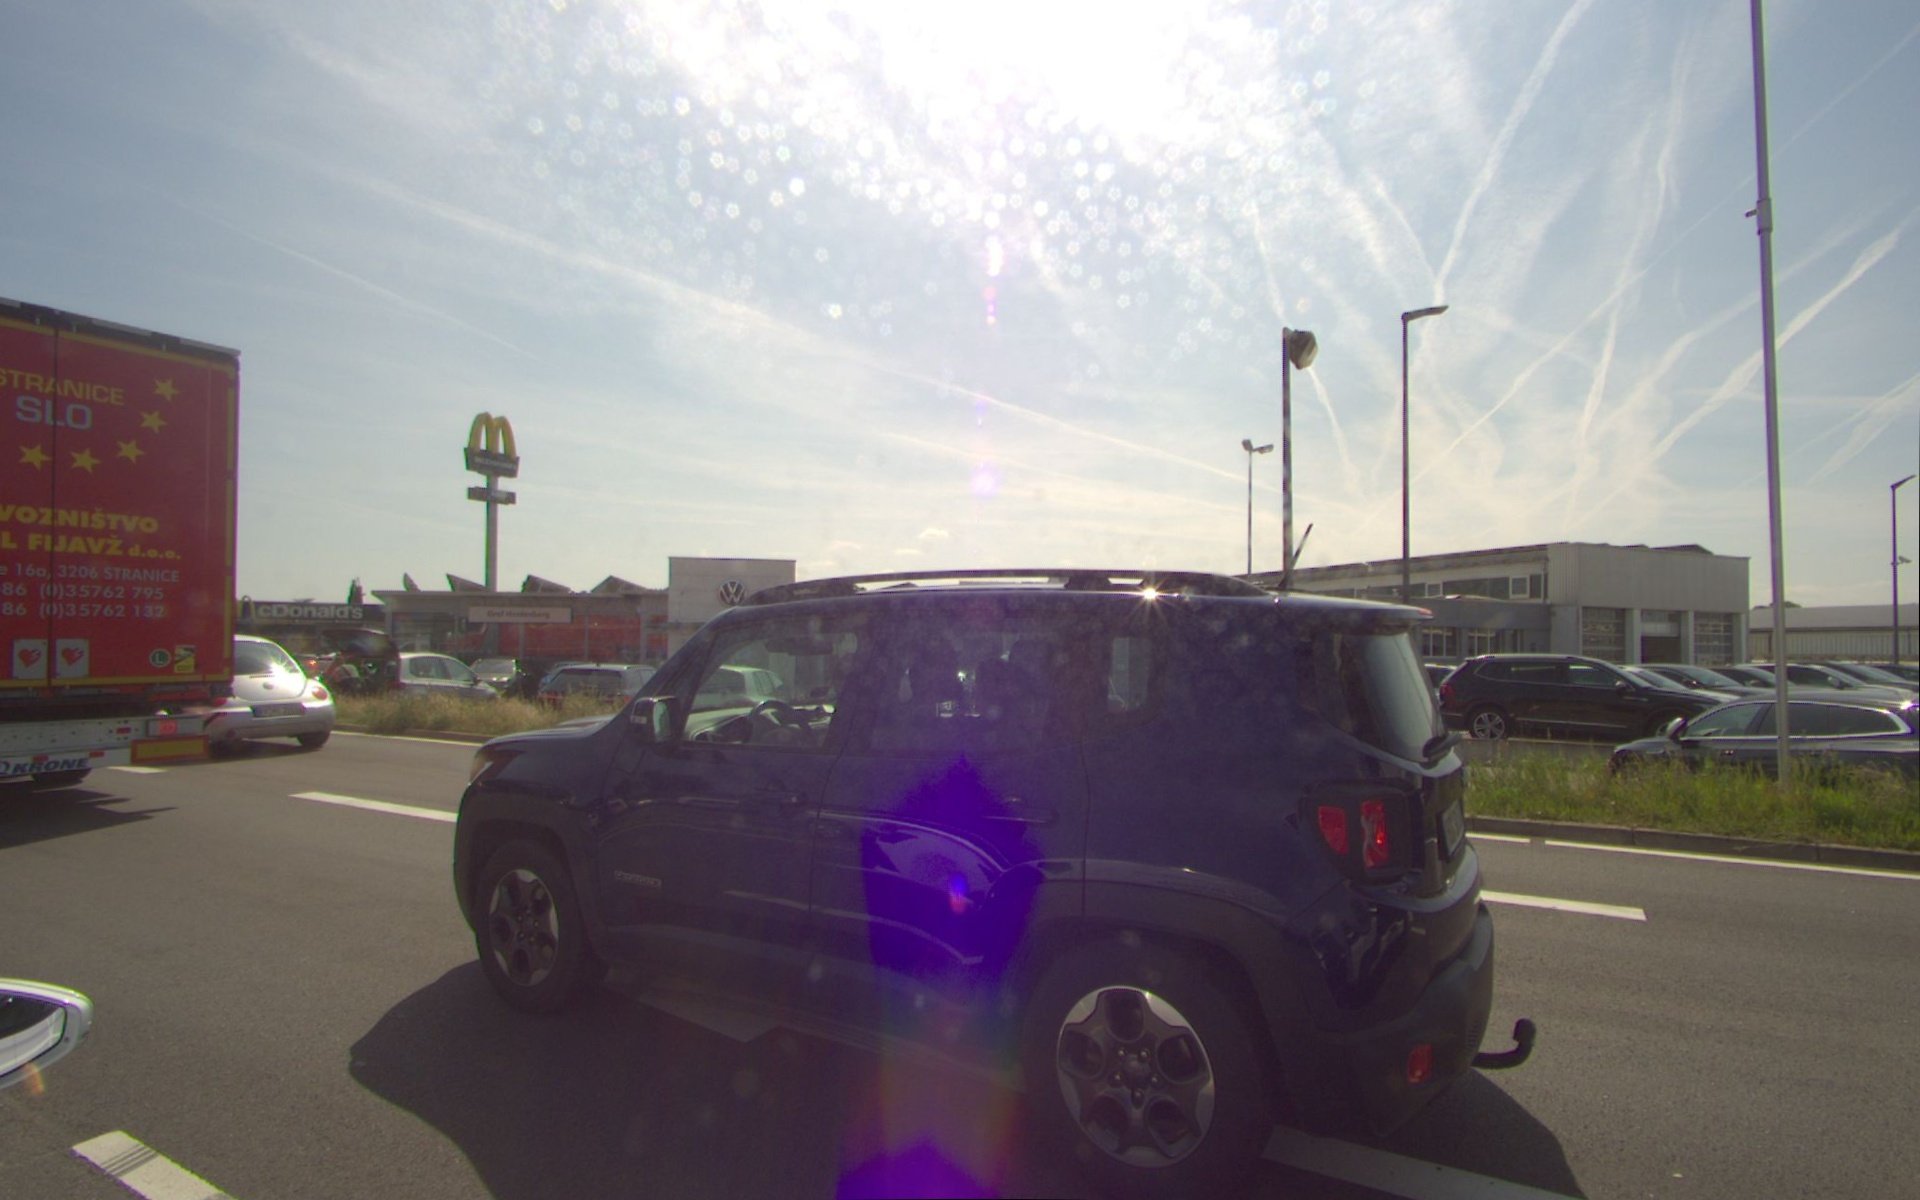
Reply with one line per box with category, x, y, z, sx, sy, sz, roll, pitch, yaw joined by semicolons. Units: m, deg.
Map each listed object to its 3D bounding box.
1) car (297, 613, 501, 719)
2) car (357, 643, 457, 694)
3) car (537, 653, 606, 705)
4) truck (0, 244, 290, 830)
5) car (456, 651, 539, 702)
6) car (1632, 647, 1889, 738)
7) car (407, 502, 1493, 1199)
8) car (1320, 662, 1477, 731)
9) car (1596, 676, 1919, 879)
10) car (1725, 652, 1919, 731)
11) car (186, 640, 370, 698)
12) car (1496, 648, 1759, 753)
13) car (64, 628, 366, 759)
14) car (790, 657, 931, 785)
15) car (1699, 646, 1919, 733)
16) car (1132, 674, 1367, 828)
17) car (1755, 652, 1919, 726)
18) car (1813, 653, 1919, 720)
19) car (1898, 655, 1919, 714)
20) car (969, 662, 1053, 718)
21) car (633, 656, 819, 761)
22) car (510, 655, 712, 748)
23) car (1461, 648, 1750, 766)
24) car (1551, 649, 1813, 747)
car;-11.234;1.285;20.385;1.669;1.945;3.848;0;-2;6
car;-18.226;2.232;33.201;1.964;1.550;3.996;1;-2;-15
car;-13.075;2.636;33.910;1.671;1.577;3.783;1;-2;-14
truck;-13.846;-0.356;12.046;16.341;4.324;2.953;-1;-2;31
car;-15.419;2.527;33.585;1.771;1.550;4.222;1;-2;-15
car;17.955;1.995;22.628;1.960;1.812;4.202;2;-3;-37
car;-0.190;0.687;3.939;3.943;1.707;1.816;-1;-1;32
car;11.617;2.502;26.592;3.666;1.601;1.599;-1;-2;31
car;8.267;1.523;9.476;1.705;1.420;4.350;1;-2;0
car;22.260;2.245;25.352;1.883;1.777;4.208;2;-3;-32
car;-19.611;1.972;28.914;3.922;1.550;2.001;1;-2;2
car;13.113;1.887;19.905;4.175;1.812;1.973;-1;-2;35
car;-9.817;1.120;13.151;3.938;1.491;1.658;-1;-1;28
car;-1.350;1.679;14.983;1.705;1.555;4.040;1;-2;0
car;20.405;2.045;23.797;1.960;1.812;4.202;2;-3;-37
car;3.336;1.704;12.334;1.705;1.420;4.040;1;-2;0
car;24.028;2.315;26.584;1.883;1.777;4.208;2;-3;-32
car;26.415;2.377;27.507;1.883;1.777;4.208;2;-3;-32
car;30.794;2.554;29.553;1.882;1.777;4.209;2;-3;-32
car;1.553;2.801;31.684;1.706;1.555;4.036;1;-2;-11
car;-3.645;1.658;16.318;1.670;1.417;3.847;0;-2;8
car;-6.159;1.750;18.154;1.670;1.417;3.845;0;-2;12
car;11.492;1.816;18.064;4.175;1.812;1.973;-1;-2;35
car;15.402;2.003;21.555;1.960;1.812;4.202;2;-3;-37
